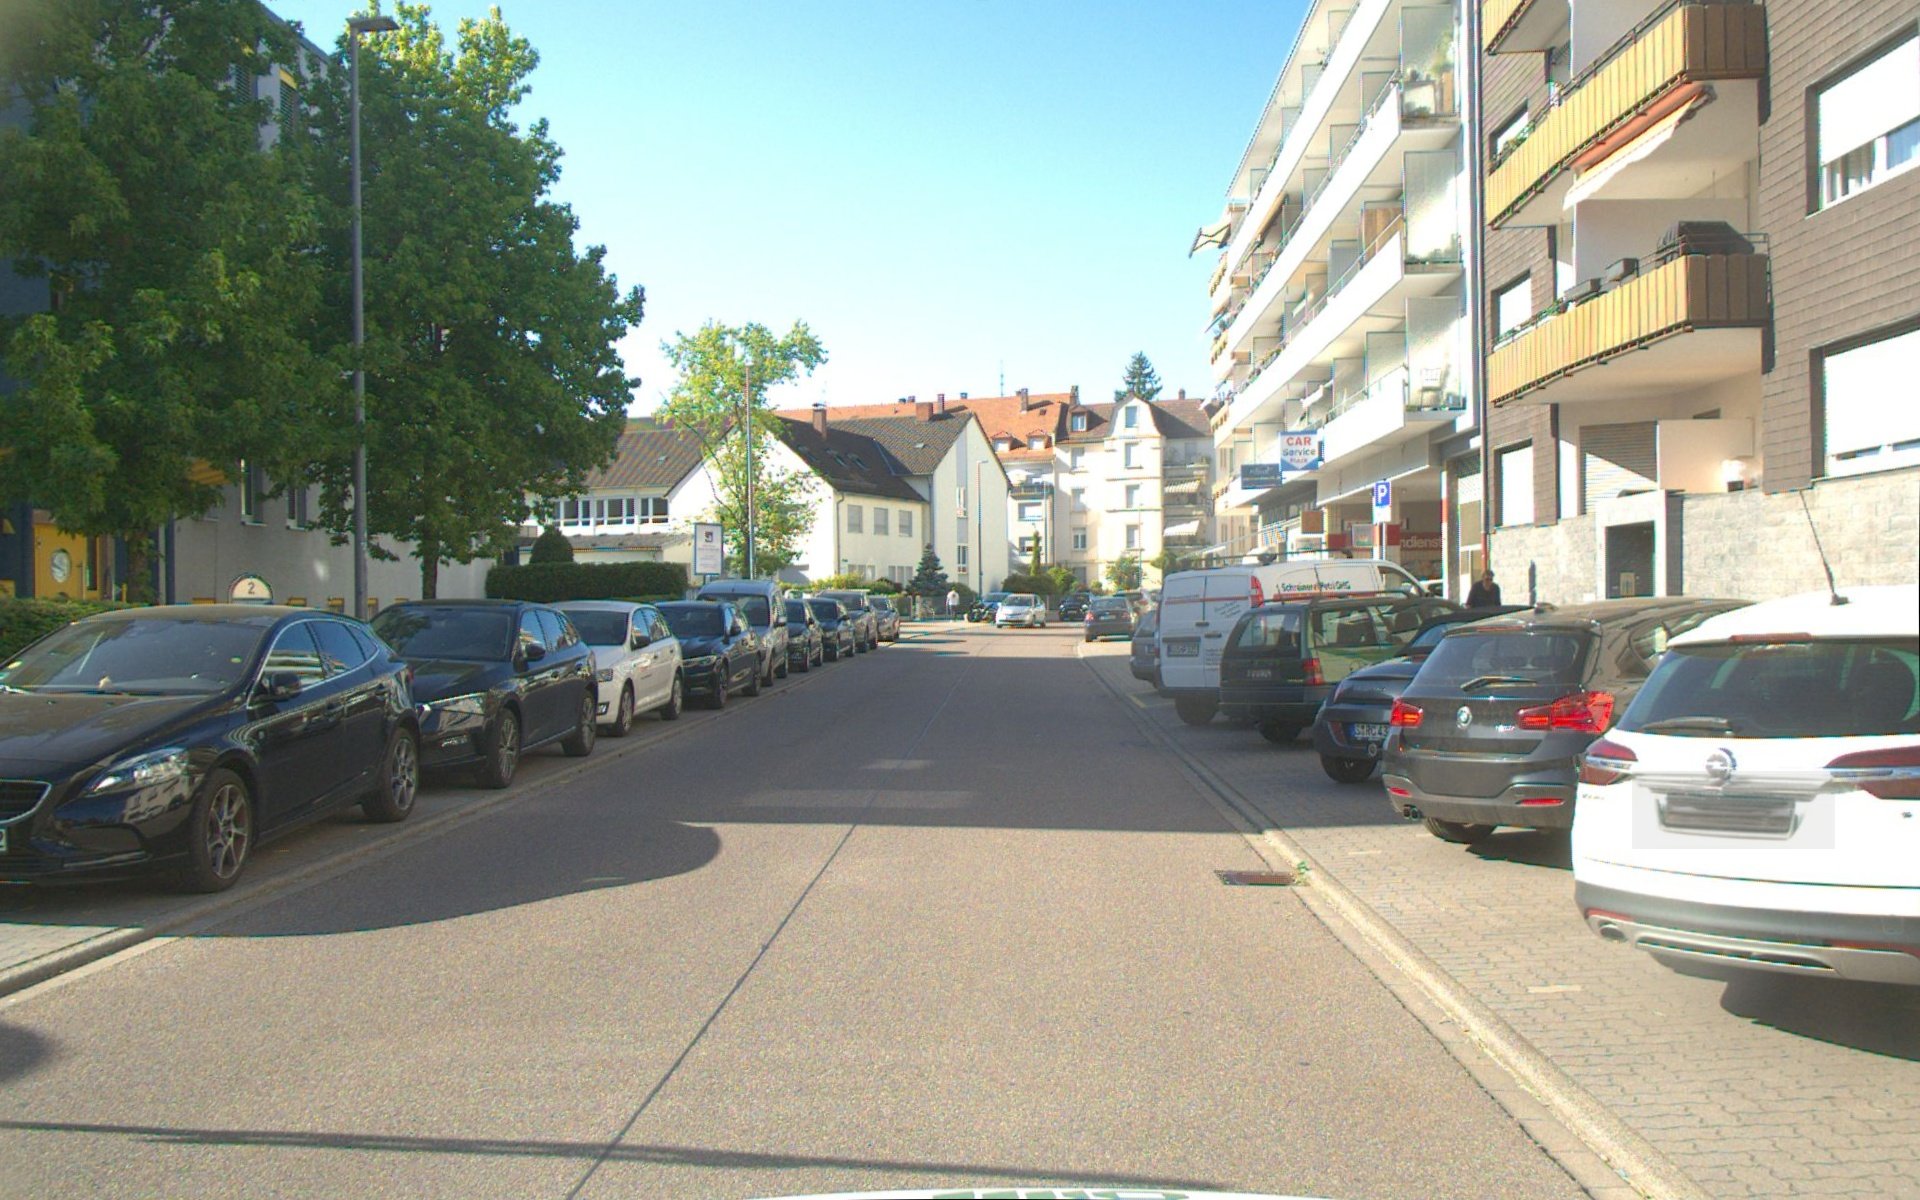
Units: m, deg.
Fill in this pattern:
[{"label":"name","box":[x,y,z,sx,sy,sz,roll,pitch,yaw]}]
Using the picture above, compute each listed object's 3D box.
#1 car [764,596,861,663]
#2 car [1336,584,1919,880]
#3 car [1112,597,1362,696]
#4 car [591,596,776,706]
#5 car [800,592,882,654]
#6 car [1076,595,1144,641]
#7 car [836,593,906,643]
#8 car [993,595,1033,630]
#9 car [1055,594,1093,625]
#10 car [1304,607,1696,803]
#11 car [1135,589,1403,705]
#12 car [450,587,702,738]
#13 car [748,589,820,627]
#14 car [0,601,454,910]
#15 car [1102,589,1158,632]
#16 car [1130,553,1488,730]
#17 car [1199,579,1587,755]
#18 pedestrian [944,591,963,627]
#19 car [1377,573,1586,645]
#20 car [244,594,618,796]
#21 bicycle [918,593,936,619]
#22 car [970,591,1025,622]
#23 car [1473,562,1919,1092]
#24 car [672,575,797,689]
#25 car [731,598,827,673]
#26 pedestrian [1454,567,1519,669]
[{"label":"car","box":[-3.493,0.666,39.815,1.690,1.490,4.441,0,0,3]},{"label":"car","box":[4.513,0.699,10.420,4.118,1.523,1.803,0,-2,-32]},{"label":"car","box":[4.805,0.759,28.296,4.605,1.491,1.665,-1,-1,-41]},{"label":"car","box":[-3.970,0.683,24.487,1.696,1.465,4.613,-1,0,3]},{"label":"car","box":[-3.235,0.607,45.757,1.683,1.614,4.423,0,0,3]},{"label":"car","box":[5.157,0.617,56.317,1.929,1.476,5.007,-1,-1,10]},{"label":"car","box":[-2.944,0.563,55.539,1.952,1.561,4.919,0,0,1]},{"label":"car","box":[2.448,0.563,75.262,1.690,1.511,4.108,0,0,3]},{"label":"car","box":[6.148,0.501,89.644,1.705,1.539,3.730,-2,1,0]},{"label":"car","box":[4.548,0.779,13.761,3.363,1.413,1.519,0,0,-39]},{"label":"car","box":[4.667,0.658,24.615,4.293,1.539,1.729,-1,-1,-44]},{"label":"car","box":[-4.357,0.677,19.522,1.869,1.557,4.624,0,-1,0]},{"label":"car","box":[-7.770,0.384,73.289,1.764,1.583,3.185,-1,-3,25]},{"label":"car","box":[-4.534,0.724,9.794,1.752,1.435,4.223,0,0,0]},{"label":"car","box":[6.995,0.402,67.641,1.778,1.682,4.564,-1,0,12]},{"label":"car","box":[4.493,0.484,20.971,4.487,1.931,2.021,-3,-2,-39]},{"label":"car","box":[4.625,0.669,17.532,3.943,1.515,1.600,-3,-1,-30]},{"label":"pedestrian","box":[-0.330,0.444,81.891,0.669,1.733,0.824,-1,-3,23]},{"label":"car","box":[12.231,0.223,39.022,4.300,1.539,1.980,-2,-1,1]},{"label":"car","box":[-4.429,0.736,14.619,1.869,1.505,4.380,0,-1,0]},{"label":"bicycle","box":[-1.673,0.306,85.004,0.446,1.272,1.929,-1,-2,14]},{"label":"car","box":[1.944,0.324,84.559,1.759,1.499,4.334,1,1,16]},{"label":"car","box":[4.499,0.600,6.802,4.815,1.489,1.950,-4,2,-34]},{"label":"car","box":[-3.959,0.520,29.617,1.653,1.871,4.341,0,0,0]},{"label":"car","box":[-3.709,0.702,34.390,1.565,1.466,4.000,0,0,0]},{"label":"pedestrian","box":[8.617,0.296,27.100,0.815,1.621,0.889,-2,-1,7]}]
